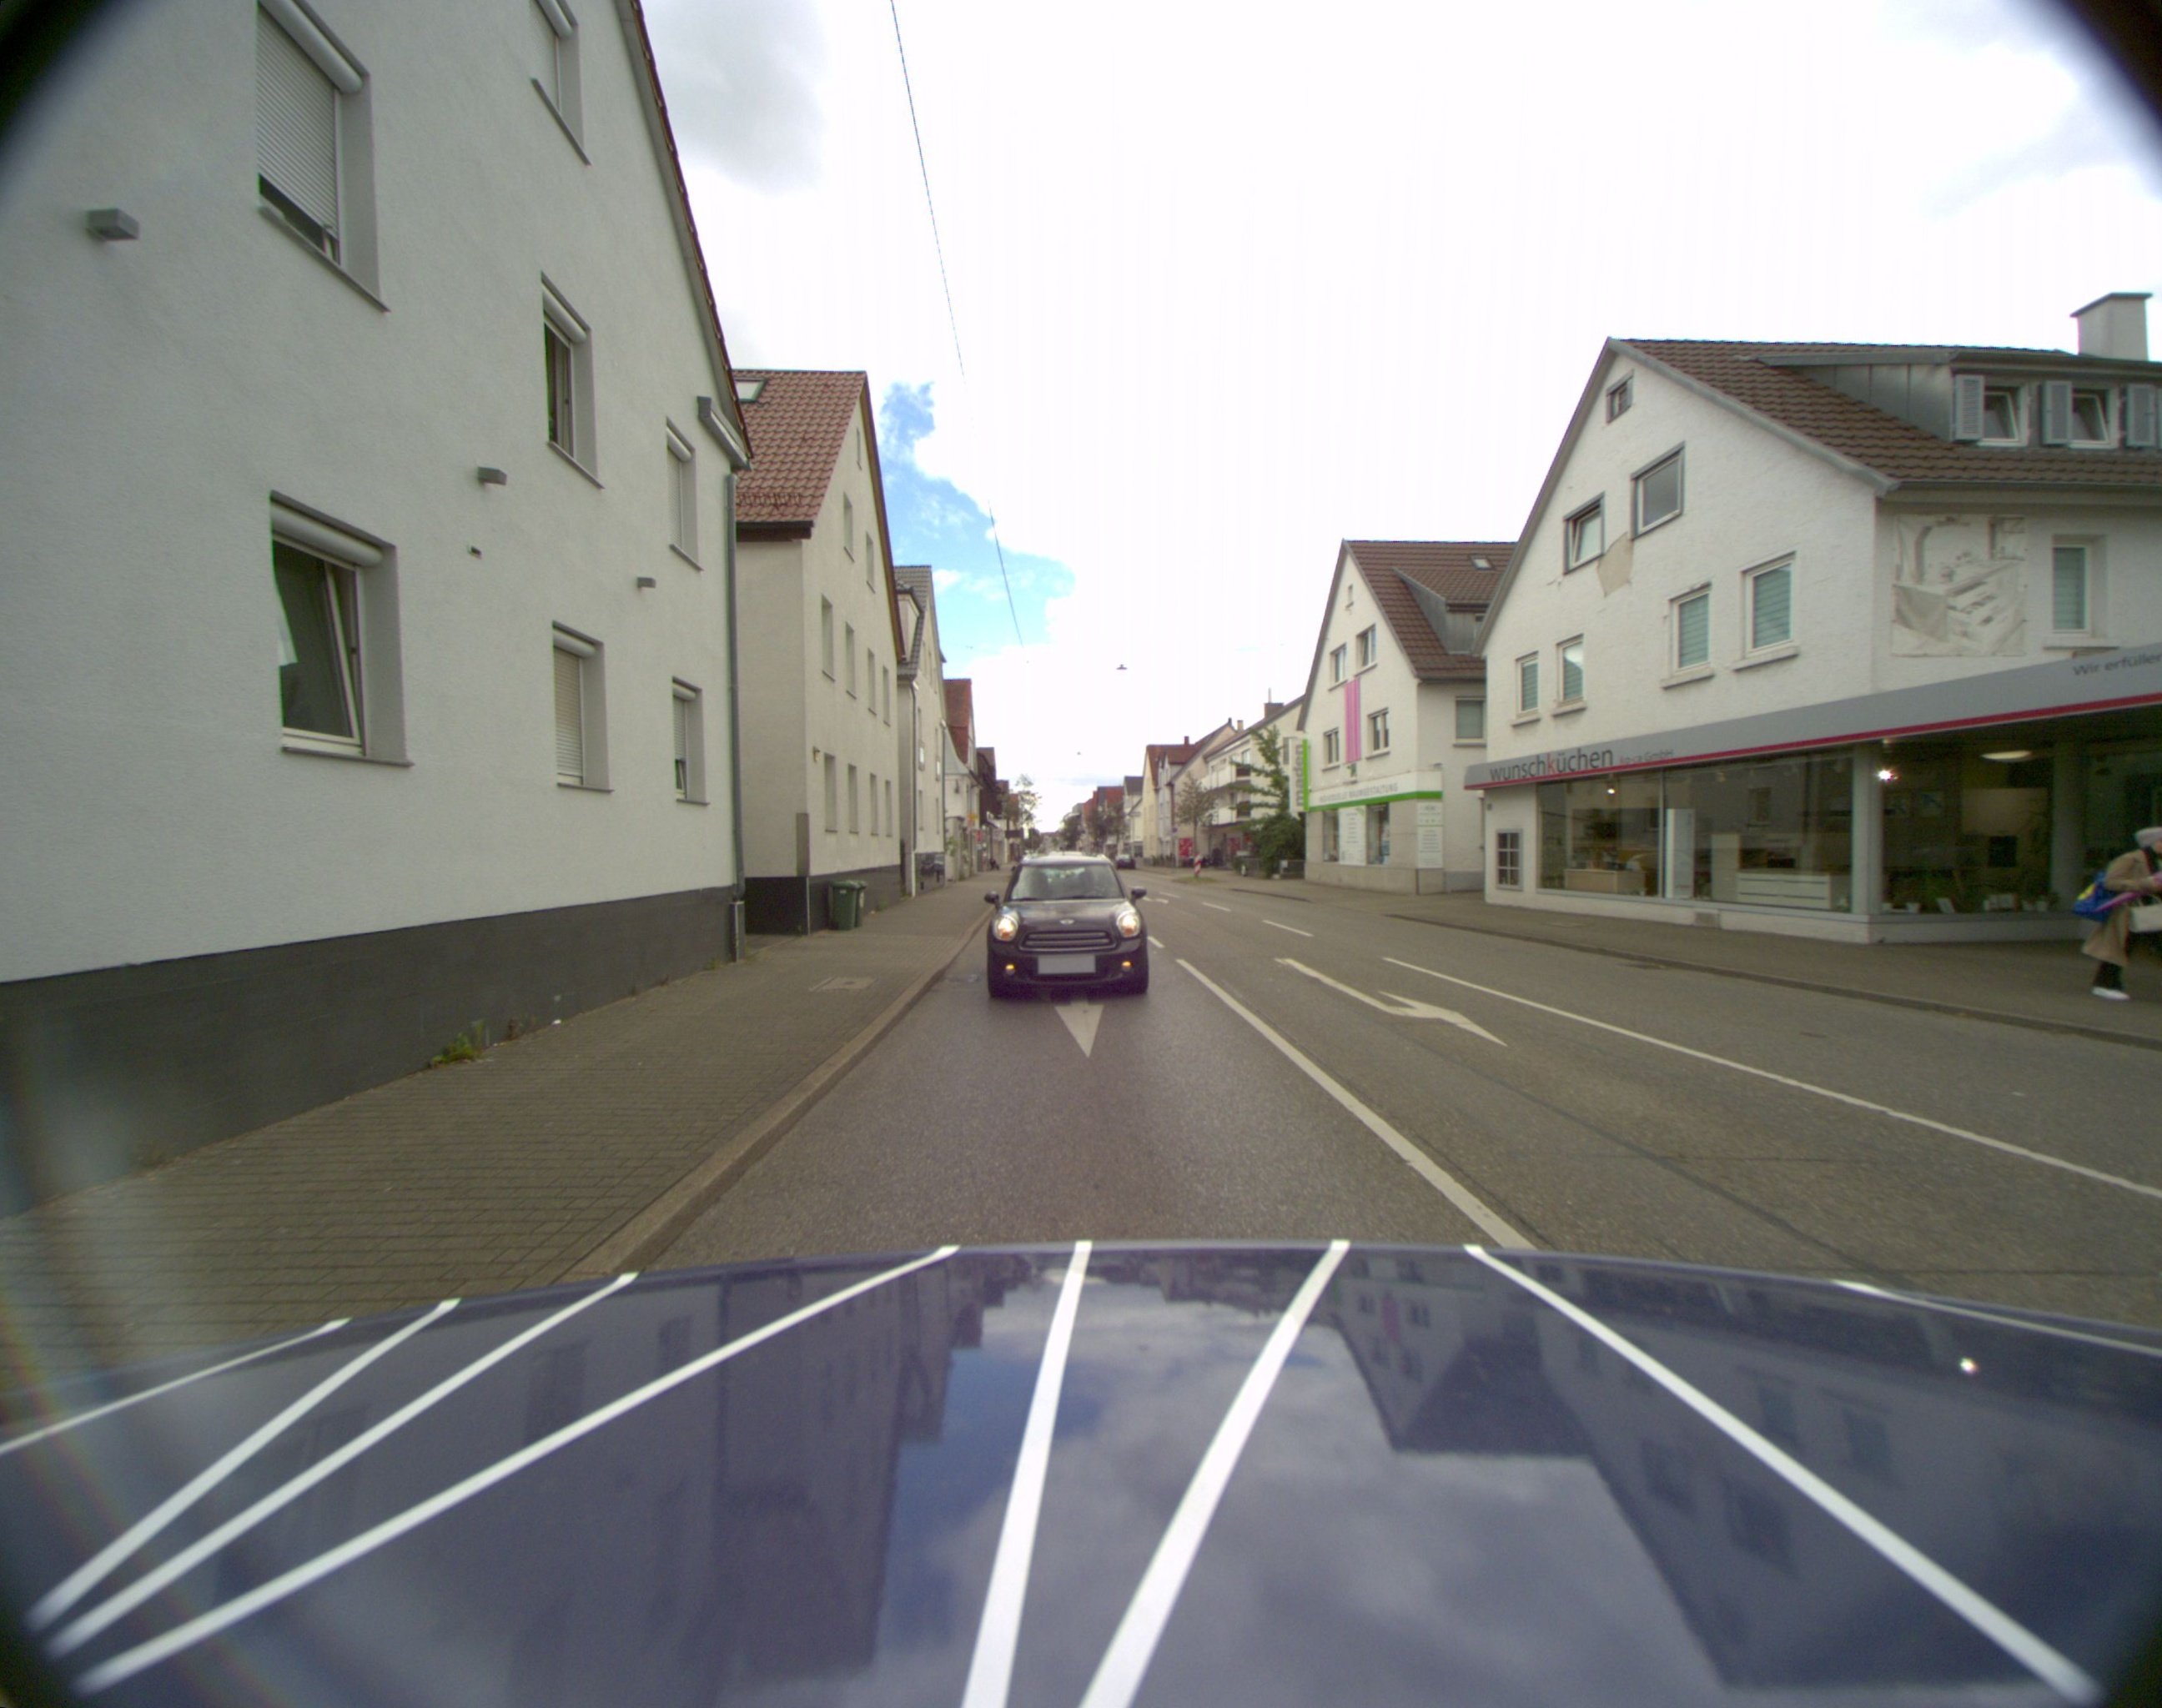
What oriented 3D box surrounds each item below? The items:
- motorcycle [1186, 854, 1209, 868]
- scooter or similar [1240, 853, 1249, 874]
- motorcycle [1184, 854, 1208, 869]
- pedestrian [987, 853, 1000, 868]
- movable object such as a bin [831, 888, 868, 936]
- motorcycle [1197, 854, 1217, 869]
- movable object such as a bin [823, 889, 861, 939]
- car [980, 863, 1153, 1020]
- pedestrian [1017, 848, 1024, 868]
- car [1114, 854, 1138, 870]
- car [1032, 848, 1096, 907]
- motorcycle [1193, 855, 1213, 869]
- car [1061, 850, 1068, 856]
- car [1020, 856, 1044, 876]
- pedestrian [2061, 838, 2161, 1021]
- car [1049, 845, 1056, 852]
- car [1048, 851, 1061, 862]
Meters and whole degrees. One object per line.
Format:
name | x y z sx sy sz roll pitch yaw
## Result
motorcycle | 9.542 0.584 62.224 1.679 1.099 0.558 -2 1 -2
scooter or similar | 9.048 0.516 42.097 0.465 1.117 1.829 -1 0 12
motorcycle | 9.267 0.602 61.399 1.834 1.099 0.505 -2 1 -2
pedestrian | -7.578 0.542 66.041 0.982 1.272 0.667 0 1 10
movable object such as a bin | -4.589 1.150 15.087 0.565 0.898 0.519 1 1 -2
motorcycle | 10.013 0.582 60.431 1.515 1.099 0.589 -2 1 4
movable object such as a bin | -4.567 1.138 14.514 0.565 0.898 0.519 1 1 -2
car | -0.188 0.888 9.544 1.694 1.506 4.000 -1 0 -1
pedestrian | -5.311 0.320 66.696 0.497 1.744 0.451 0 1 -1
car | 4.116 0.686 70.509 1.634 1.404 3.998 1 0 -5
car | -0.645 0.661 24.568 1.811 1.556 4.614 -2 2 -4
motorcycle | 9.612 0.641 59.707 1.429 1.017 0.525 -2 1 -2
car | -4.417 -0.243 200.879 1.846 1.510 3.999 -2 1 -2
car | -4.018 0.941 62.539 1.846 1.510 3.998 -2 1 -4
pedestrian | 9.732 0.657 6.877 0.642 1.596 0.866 -2 1 -12
car | -9.334 -1.814 247.442 1.951 2.117 4.321 1 0 -5
car | -3.854 0.304 111.461 1.846 1.510 3.999 -2 1 -2
